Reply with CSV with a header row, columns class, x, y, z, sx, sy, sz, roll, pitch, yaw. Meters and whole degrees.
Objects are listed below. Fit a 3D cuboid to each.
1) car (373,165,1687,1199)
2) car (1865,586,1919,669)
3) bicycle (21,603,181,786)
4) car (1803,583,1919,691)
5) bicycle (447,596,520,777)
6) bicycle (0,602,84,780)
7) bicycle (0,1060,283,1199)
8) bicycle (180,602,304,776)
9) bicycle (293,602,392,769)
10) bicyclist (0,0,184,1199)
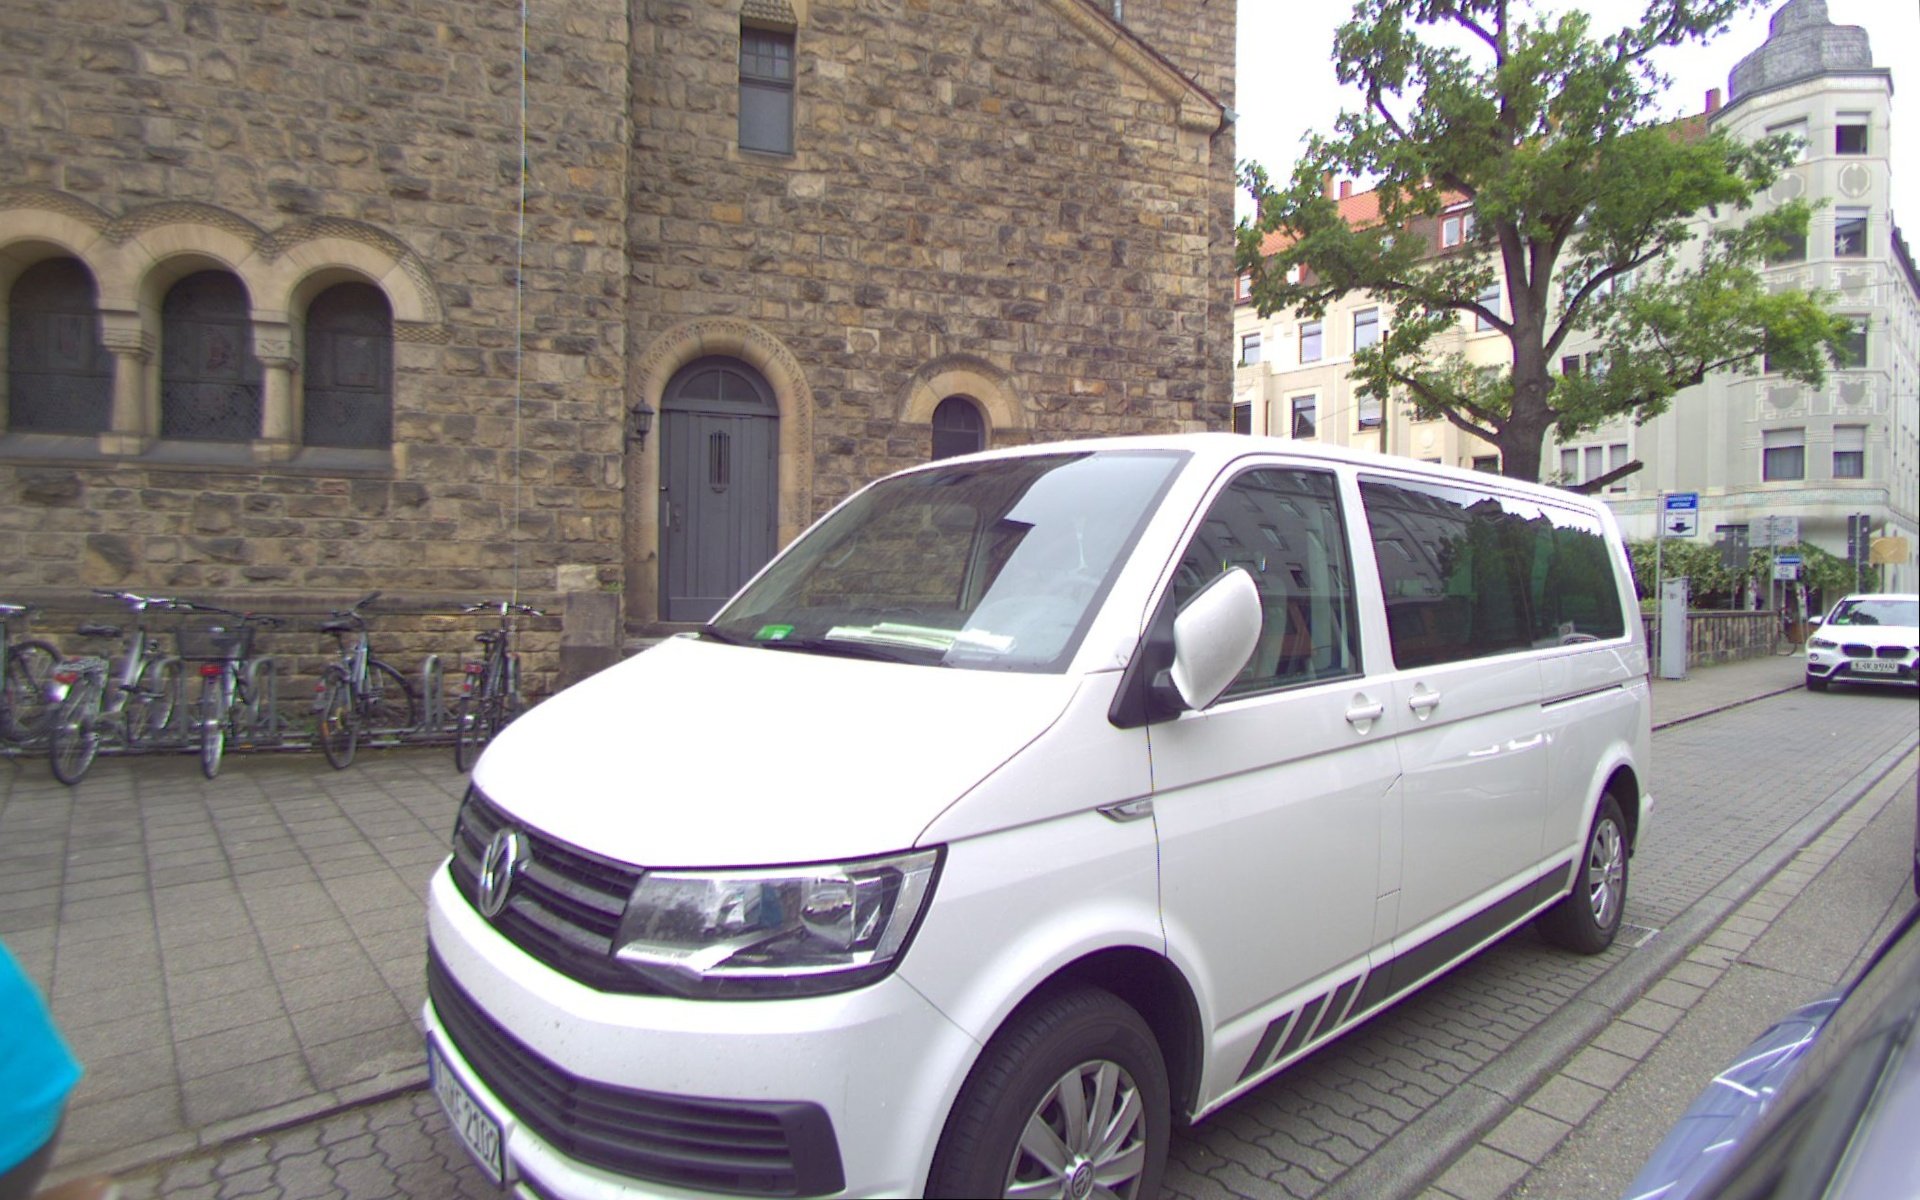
class,x,y,z,sx,sy,sz,roll,pitch,yaw
car,0.929,0.393,3.711,5.075,1.944,1.807,0,0,-42
car,19.818,0.528,20.437,3.930,1.585,1.818,0,0,-41
bicycle,-5.660,0.566,6.733,0.304,1.073,1.386,1,0,-18
car,15.375,0.542,16.560,3.930,1.585,1.818,0,0,-41
bicycle,-3.390,0.558,7.251,0.304,1.161,1.346,1,0,-18
bicycle,-6.081,0.558,6.394,0.304,1.073,1.386,1,0,-18
bicycle,-1.433,0.955,0.203,2.094,1.112,0.496,0,0,-26
bicycle,-4.992,0.565,7.099,0.304,1.073,1.386,1,0,-18
bicycle,-4.422,0.561,7.299,0.304,1.073,1.346,1,0,-18
bicyclist,-1.098,0.335,0.473,1.036,1.537,0.689,1,0,-27
